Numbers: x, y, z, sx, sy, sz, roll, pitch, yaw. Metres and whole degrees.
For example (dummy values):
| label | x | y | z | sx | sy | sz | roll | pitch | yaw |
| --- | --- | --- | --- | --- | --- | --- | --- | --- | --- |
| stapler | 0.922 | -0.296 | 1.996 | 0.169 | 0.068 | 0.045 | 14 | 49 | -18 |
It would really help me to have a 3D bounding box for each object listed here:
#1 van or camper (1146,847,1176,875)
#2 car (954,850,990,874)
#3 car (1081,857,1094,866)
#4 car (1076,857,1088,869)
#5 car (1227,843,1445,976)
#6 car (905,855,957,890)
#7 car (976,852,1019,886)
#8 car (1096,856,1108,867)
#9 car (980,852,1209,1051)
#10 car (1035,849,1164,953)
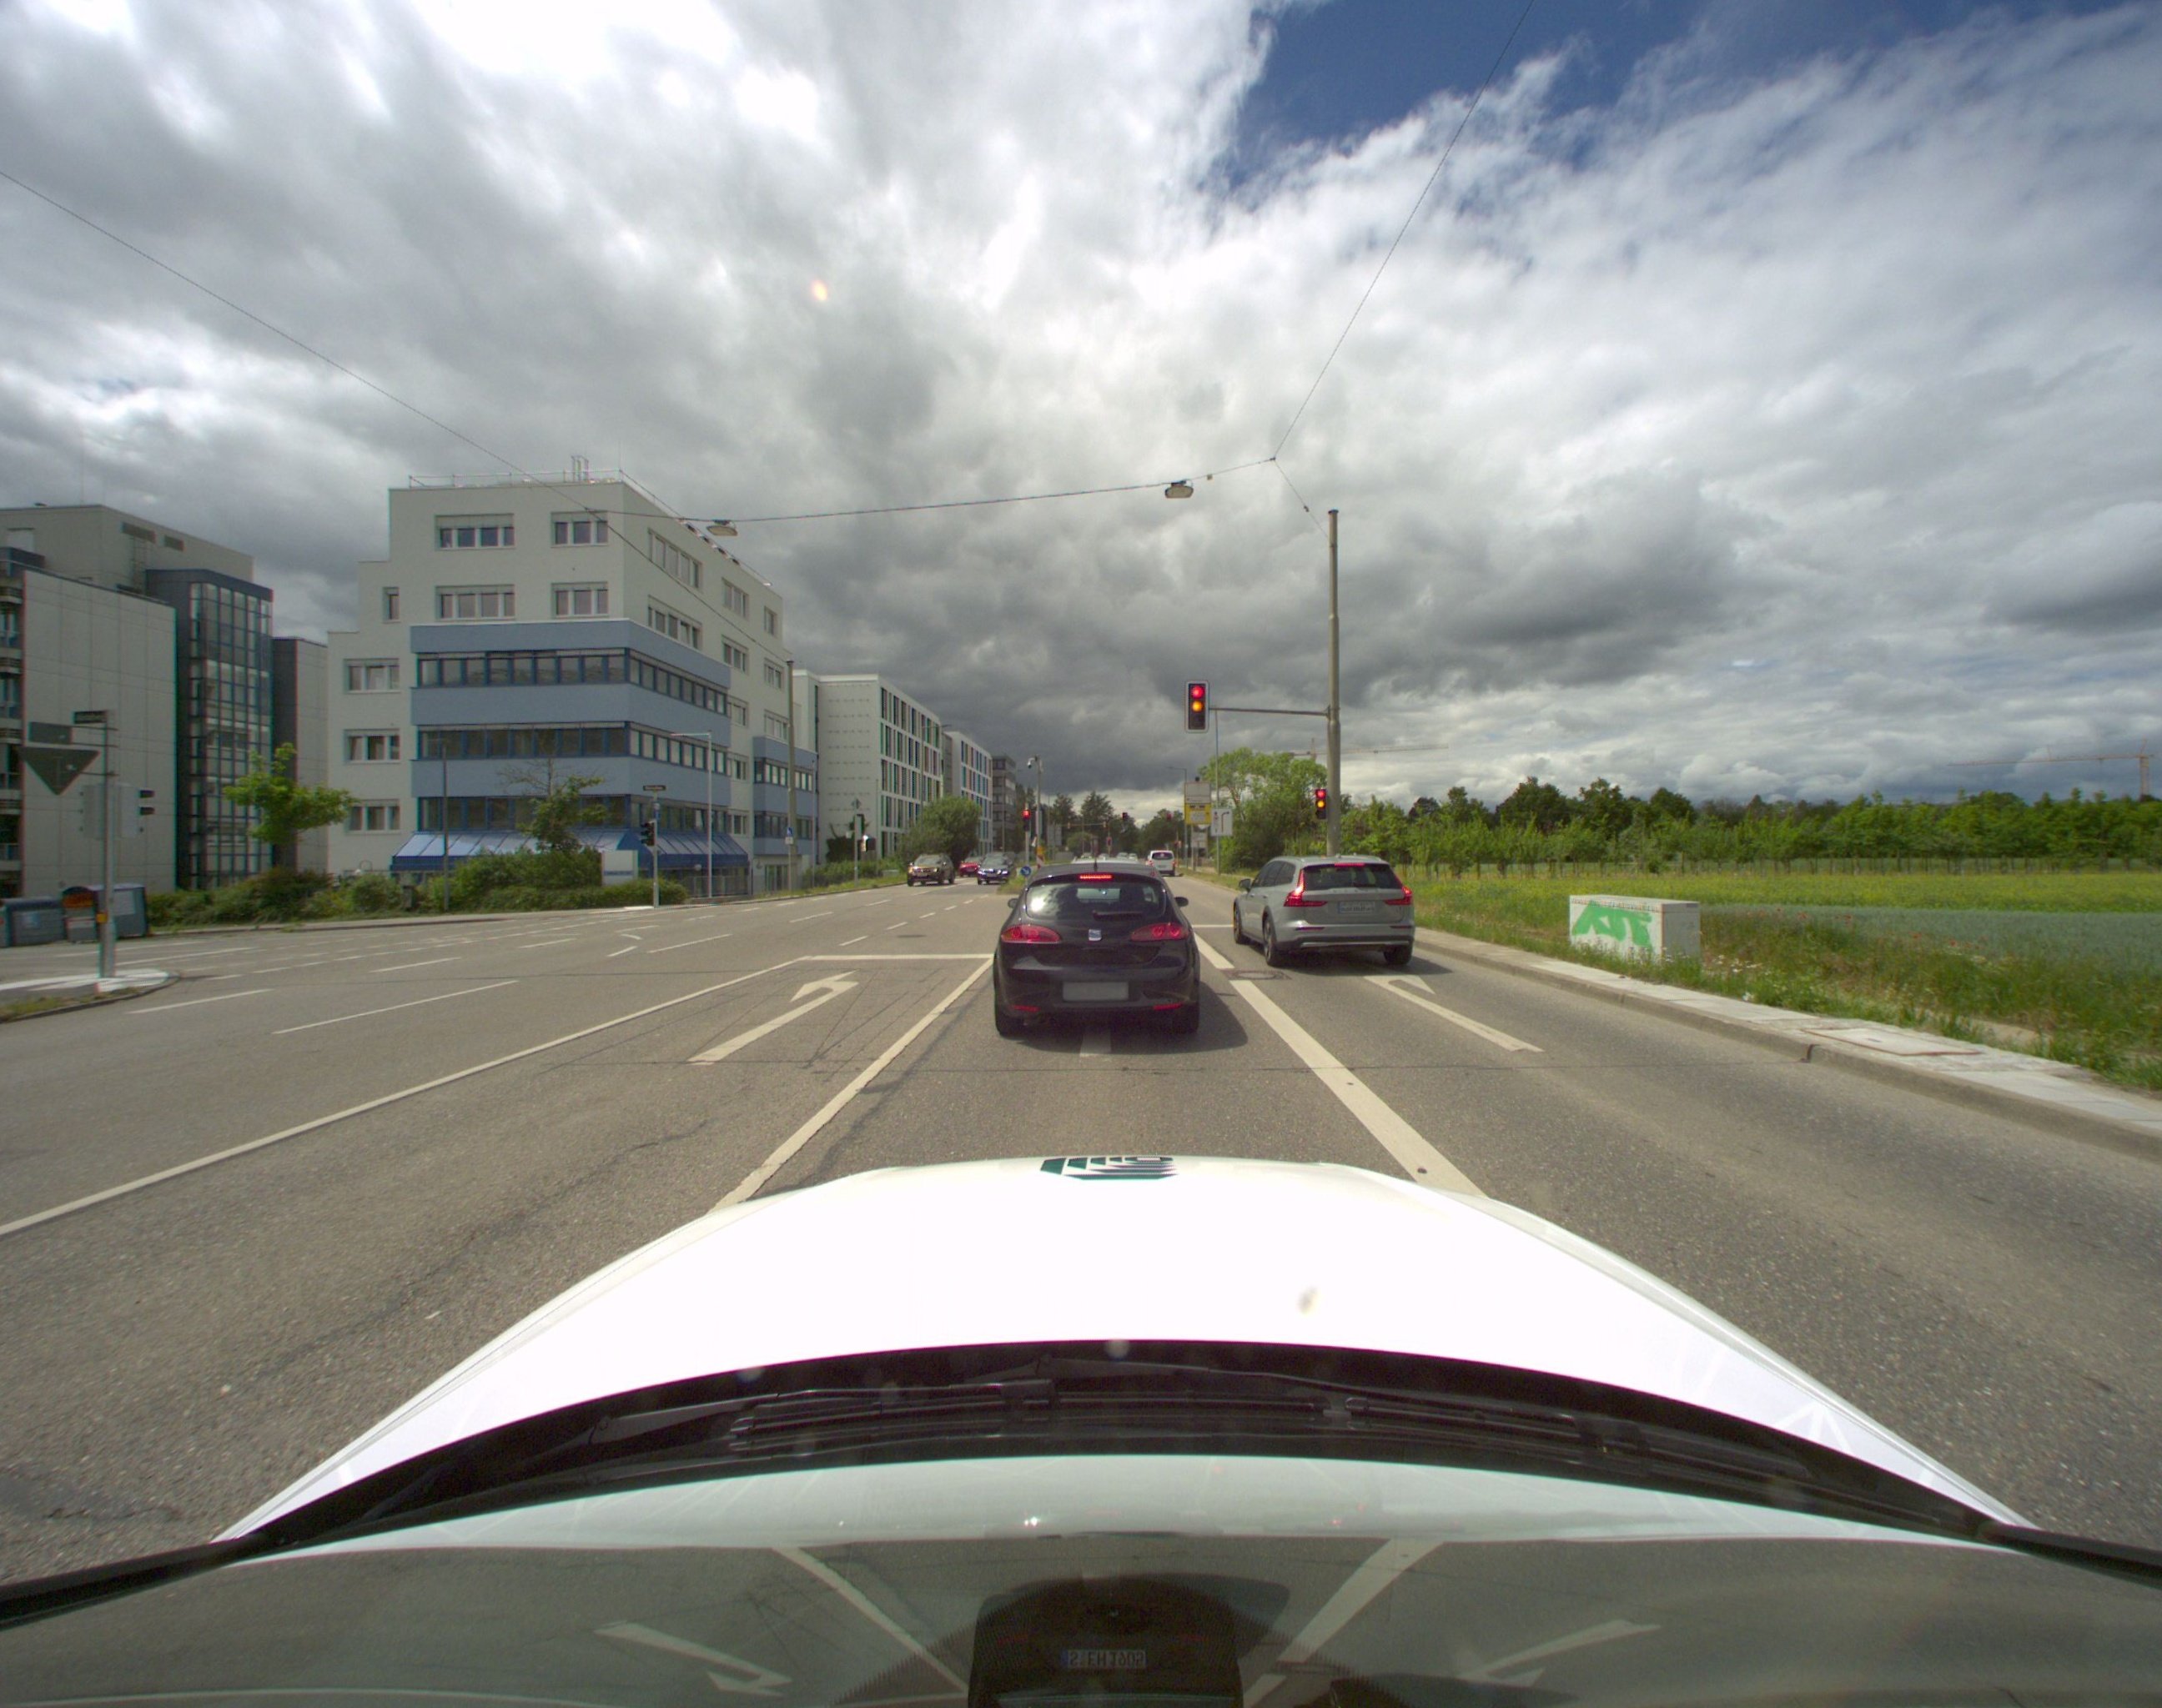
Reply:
| label | x | y | z | sx | sy | sz | roll | pitch | yaw |
| --- | --- | --- | --- | --- | --- | --- | --- | --- | --- |
| van or camper | 5.788 | 0.507 | 59.274 | 1.892 | 1.926 | 4.001 | -1 | -1 | 2 |
| car | -7.573 | 0.566 | 56.891 | 1.769 | 1.612 | 4.001 | -1 | -1 | 2 |
| car | 1.058 | 1.275 | 136.137 | 1.986 | 1.409 | 4.001 | -1 | -1 | 2 |
| car | 0.191 | 1.470 | 136.092 | 1.986 | 2.014 | 4.001 | -1 | -1 | 2 |
| car | 3.473 | 0.695 | 12.024 | 1.950 | 1.525 | 4.342 | -2 | -1 | 2 |
| car | -7.781 | 0.922 | 42.589 | 1.744 | 1.631 | 4.001 | -3 | 0 | 2 |
| car | -4.381 | 0.743 | 43.035 | 1.662 | 1.524 | 4.010 | -3 | 1 | 2 |
| car | 3.913 | 1.336 | 151.217 | 1.986 | 2.014 | 4.001 | -1 | -1 | 2 |
| car | 0.282 | 0.753 | 8.194 | 1.739 | 1.484 | 4.006 | 0 | -1 | 5 |
| car | 0.326 | 0.739 | 14.622 | 1.976 | 1.590 | 4.226 | 0 | 0 | 1 |
